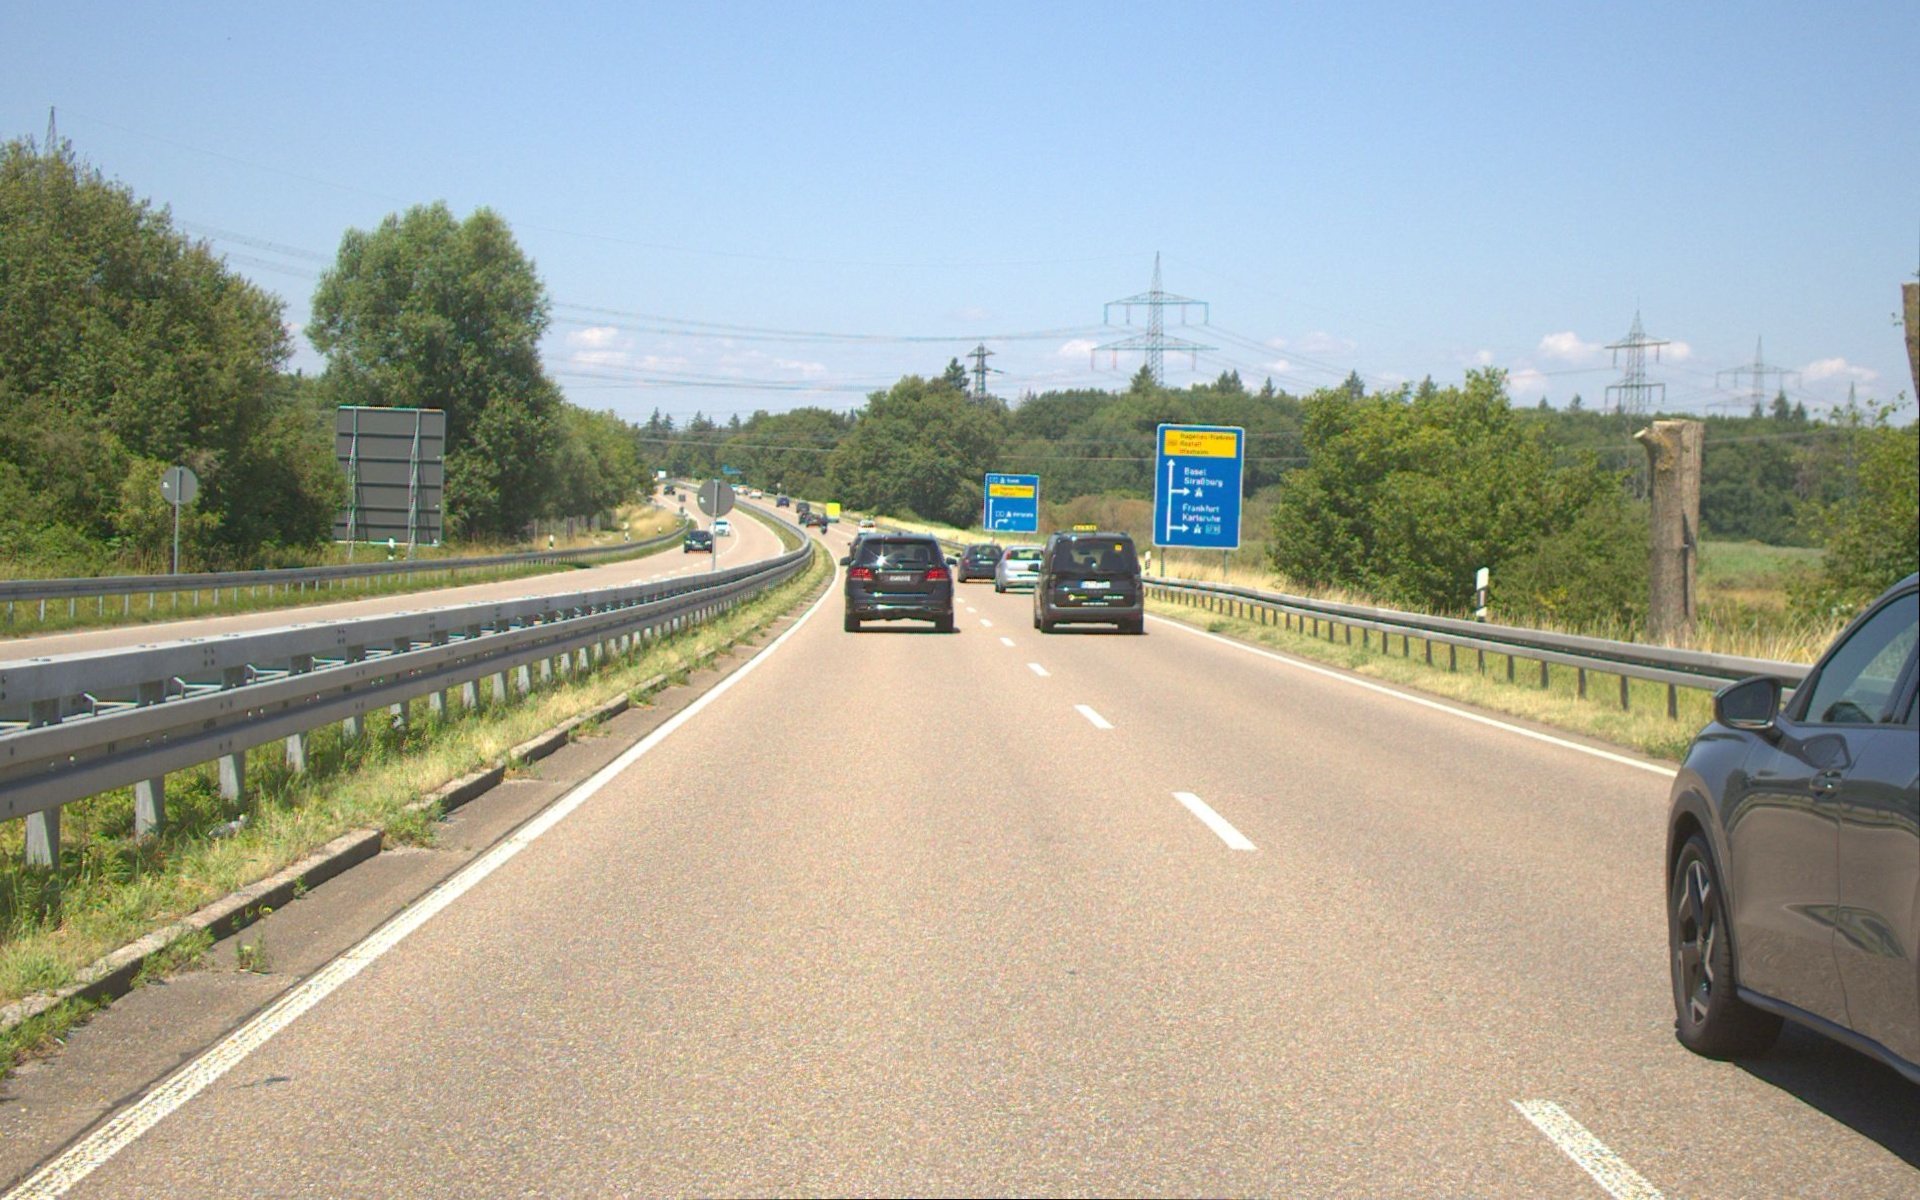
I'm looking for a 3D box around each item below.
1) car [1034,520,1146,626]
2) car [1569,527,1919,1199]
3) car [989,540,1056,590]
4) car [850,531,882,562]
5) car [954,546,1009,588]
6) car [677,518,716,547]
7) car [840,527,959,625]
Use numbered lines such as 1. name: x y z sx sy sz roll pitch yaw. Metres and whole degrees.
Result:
1. car: 2.323 -0.525 62.367 1.779 1.810 4.213 1 1 -1
2. car: 3.018 0.596 9.593 1.785 1.548 4.020 1 2 -2
3. car: 1.905 -1.095 105.849 1.779 1.474 4.316 1 1 -2
4. car: -4.874 -2.778 178.470 1.514 1.470 3.067 4 1 -3
5. car: 0.767 -1.209 124.537 1.819 1.409 4.001 1 2 -1
6. car: -16.427 -4.239 214.550 1.993 1.631 4.874 4 1 -1
7. car: -1.115 -0.449 61.396 1.993 1.649 4.001 1 1 -2
